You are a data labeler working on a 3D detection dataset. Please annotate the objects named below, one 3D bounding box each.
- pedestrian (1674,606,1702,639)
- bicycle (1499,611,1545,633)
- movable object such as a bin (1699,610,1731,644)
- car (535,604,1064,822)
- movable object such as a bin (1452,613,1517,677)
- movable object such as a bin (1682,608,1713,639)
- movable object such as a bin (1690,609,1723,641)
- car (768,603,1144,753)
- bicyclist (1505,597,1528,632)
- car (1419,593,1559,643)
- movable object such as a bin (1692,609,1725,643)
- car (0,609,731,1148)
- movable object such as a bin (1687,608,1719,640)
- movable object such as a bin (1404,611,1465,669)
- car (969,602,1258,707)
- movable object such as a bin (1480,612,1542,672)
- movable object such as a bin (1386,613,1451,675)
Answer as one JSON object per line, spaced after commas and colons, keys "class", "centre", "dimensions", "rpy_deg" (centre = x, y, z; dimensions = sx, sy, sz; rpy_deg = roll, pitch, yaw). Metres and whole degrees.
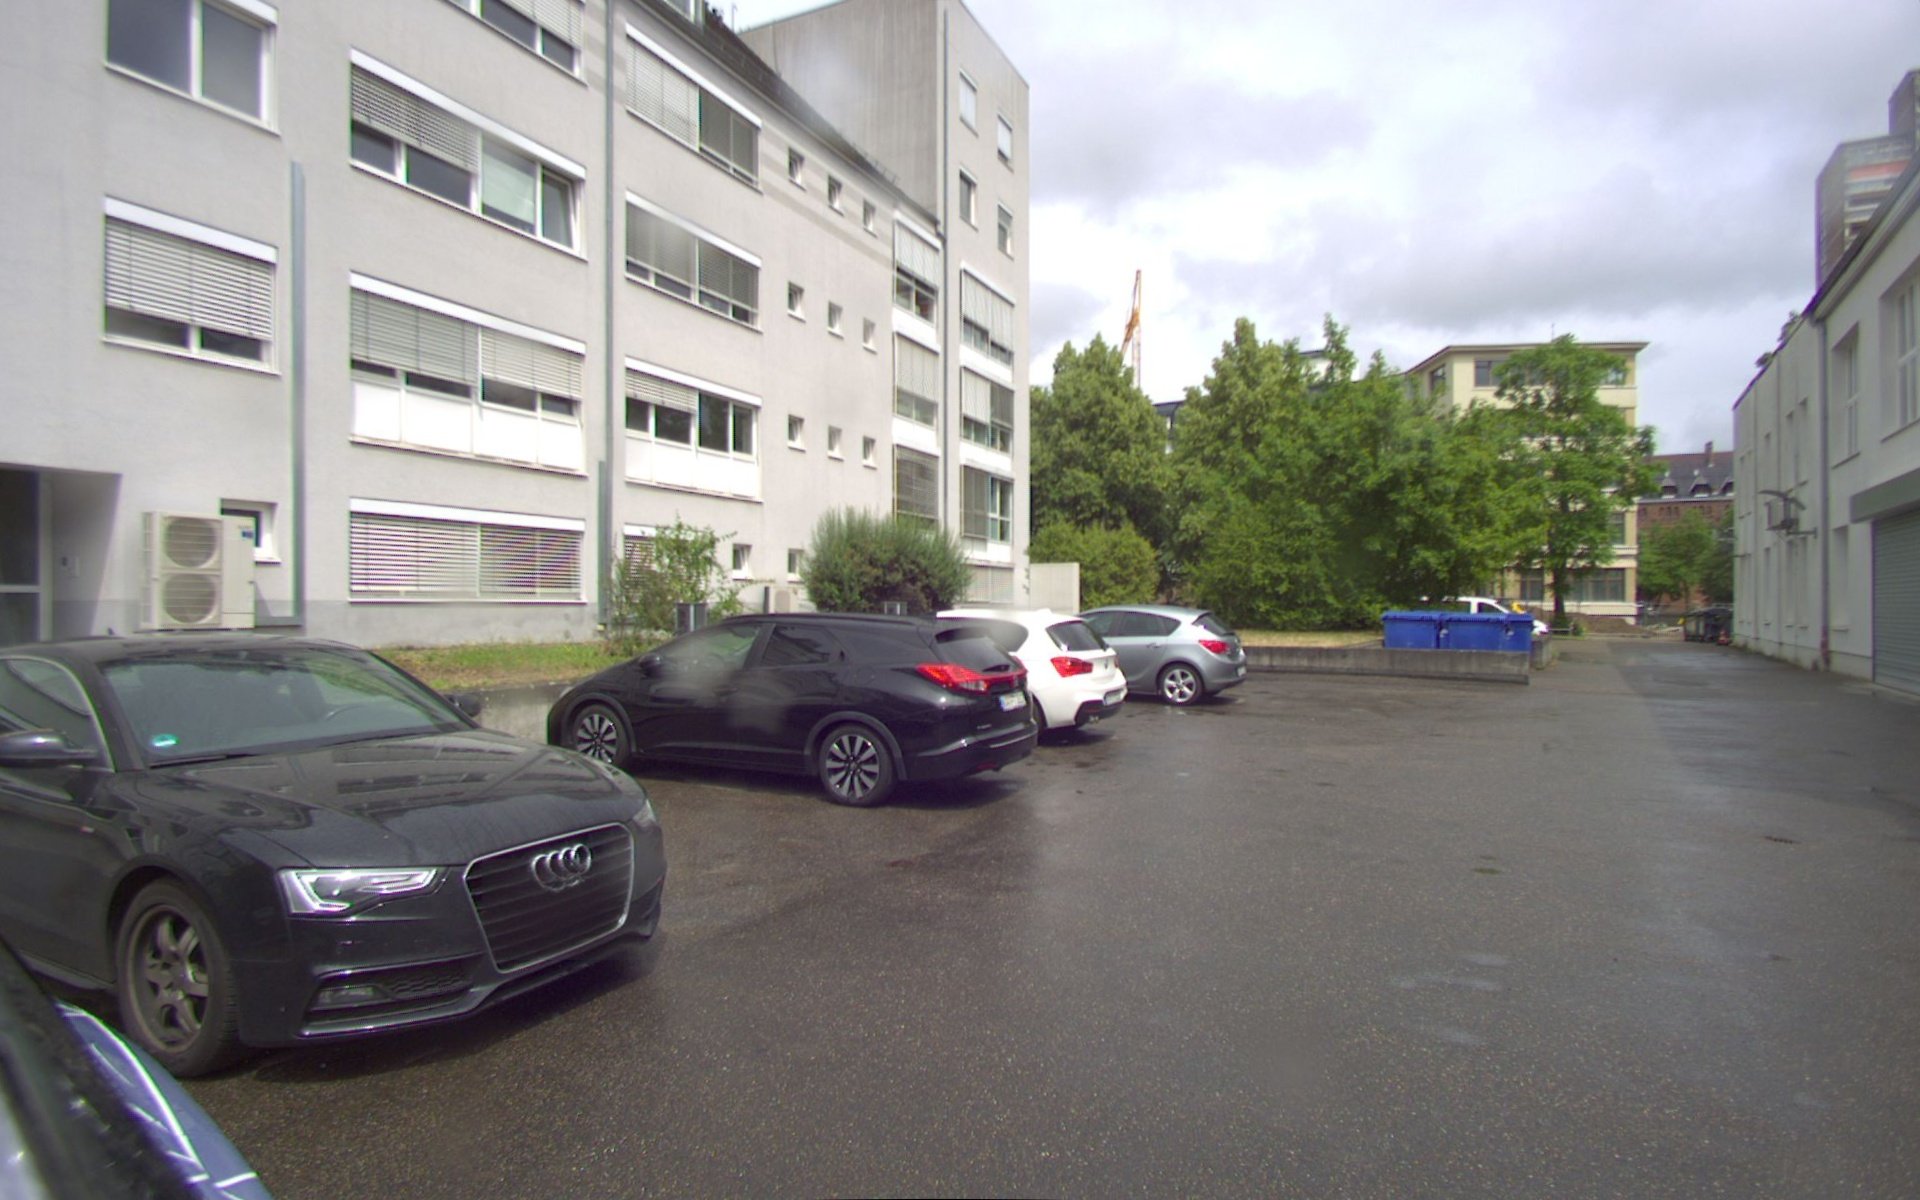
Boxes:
{"class": "pedestrian", "centre": [40.505, 1.244, 56.296], "dimensions": [0.847, 1.827, 0.865], "rpy_deg": [-1, 0, -10]}
{"class": "bicycle", "centre": [26.709, 1.041, 48.125], "dimensions": [1.848, 0.989, 0.672], "rpy_deg": [-1, 0, -9]}
{"class": "movable object such as a bin", "centre": [30.414, 1.080, 40.763], "dimensions": [0.976, 1.366, 0.908], "rpy_deg": [-1, 0, 35]}
{"class": "car", "centre": [-1.420, 0.786, 8.720], "dimensions": [4.292, 1.453, 1.748], "rpy_deg": [1, 0, 26]}
{"class": "movable object such as a bin", "centre": [11.478, 0.956, 22.134], "dimensions": [1.093, 1.335, 1.194], "rpy_deg": [-1, 0, 35]}
{"class": "movable object such as a bin", "centre": [33.501, 1.051, 45.969], "dimensions": [1.064, 1.366, 1.250], "rpy_deg": [-1, 0, 35]}
{"class": "movable object such as a bin", "centre": [32.033, 1.065, 43.434], "dimensions": [1.061, 1.366, 1.204], "rpy_deg": [-1, 0, 35]}
{"class": "car", "centre": [-0.081, 0.788, 11.839], "dimensions": [4.105, 1.453, 1.681], "rpy_deg": [1, 0, 27]}
{"class": "bicyclist", "centre": [26.459, 0.677, 48.097], "dimensions": [0.640, 1.662, 0.669], "rpy_deg": [-1, 0, -9]}
{"class": "car", "centre": [19.372, 0.669, 37.151], "dimensions": [4.327, 1.740, 1.701], "rpy_deg": [-1, 0, 37]}
{"class": "movable object such as a bin", "centre": [31.241, 1.073, 42.268], "dimensions": [1.044, 1.366, 1.193], "rpy_deg": [-1, 0, 35]}
{"class": "car", "centre": [-3.361, 0.763, 4.516], "dimensions": [4.506, 1.362, 1.747], "rpy_deg": [1, 0, 27]}
{"class": "movable object such as a bin", "centre": [32.854, 1.056, 44.765], "dimensions": [1.064, 1.366, 1.250], "rpy_deg": [-1, 0, 35]}
{"class": "movable object such as a bin", "centre": [11.350, 0.937, 24.195], "dimensions": [1.129, 1.338, 1.194], "rpy_deg": [-1, 0, 35]}
{"class": "car", "centre": [2.444, 0.785, 16.244], "dimensions": [4.292, 1.453, 1.748], "rpy_deg": [1, 0, 26]}
{"class": "movable object such as a bin", "centre": [12.744, 0.950, 23.408], "dimensions": [1.129, 1.338, 1.194], "rpy_deg": [-1, 0, 35]}
{"class": "movable object such as a bin", "centre": [10.360, 0.971, 22.864], "dimensions": [1.129, 1.338, 1.194], "rpy_deg": [-1, 0, 35]}
